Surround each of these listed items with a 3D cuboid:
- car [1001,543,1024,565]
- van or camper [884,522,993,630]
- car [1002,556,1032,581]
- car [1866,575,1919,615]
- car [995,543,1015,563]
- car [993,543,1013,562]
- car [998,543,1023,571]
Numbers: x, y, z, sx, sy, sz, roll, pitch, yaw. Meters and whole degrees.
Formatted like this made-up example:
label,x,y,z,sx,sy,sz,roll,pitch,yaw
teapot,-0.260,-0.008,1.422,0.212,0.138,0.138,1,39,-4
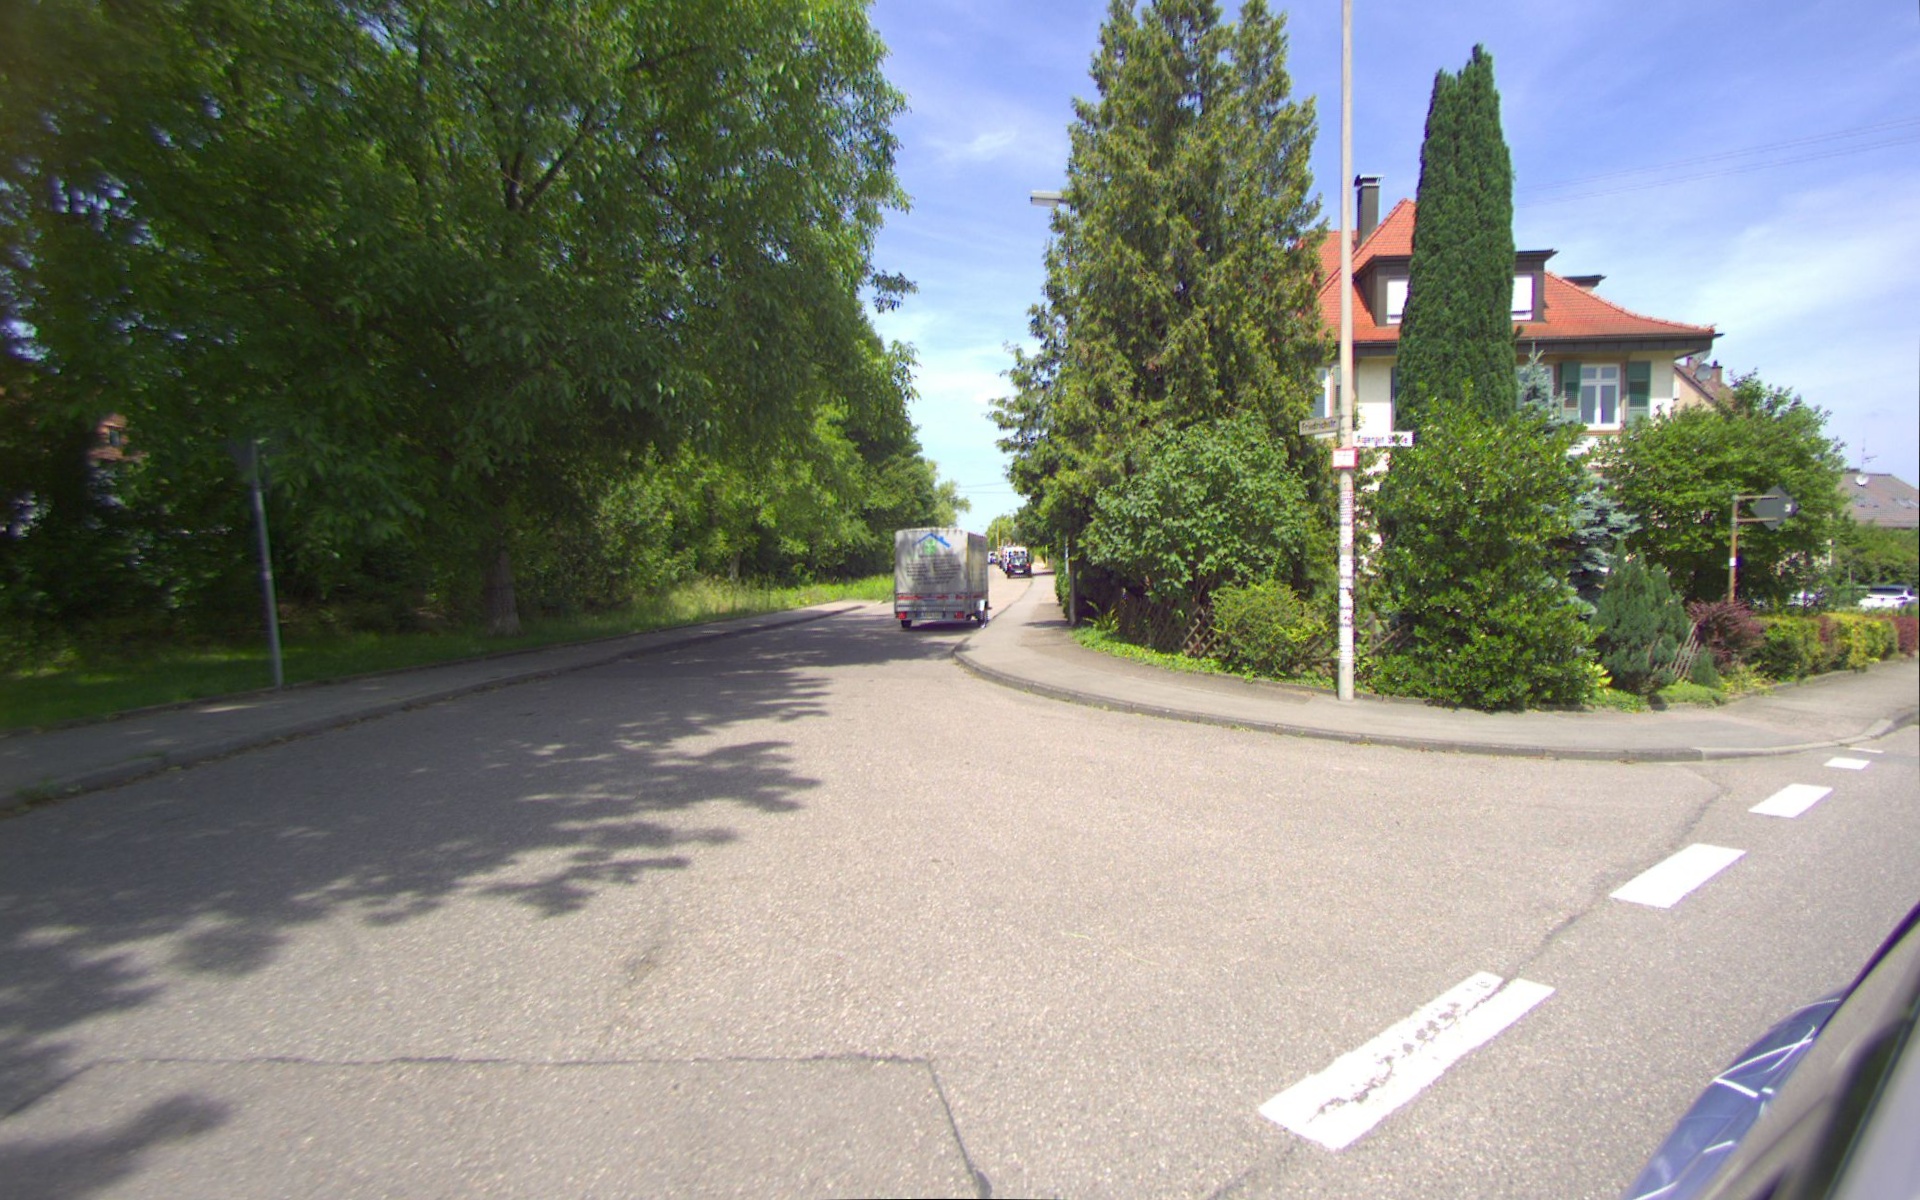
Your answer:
label,x,y,z,sx,sy,sz,roll,pitch,yaw
car,4.599,-4.028,89.576,1.813,1.872,3.899,1,2,1
van or camper,-0.399,-0.560,22.523,1.789,2.166,3.381,-2,2,9
car,3.817,-2.147,68.667,1.813,1.596,3.899,1,2,1
car,40.839,-0.247,44.079,3.499,1.500,1.608,-4,5,-41
car,4.462,-4.677,100.401,1.813,1.872,3.899,1,2,1
car,4.459,-4.959,105.237,1.813,1.872,3.900,1,2,0
car,3.982,-3.379,80.229,1.813,2.106,3.899,1,2,1
